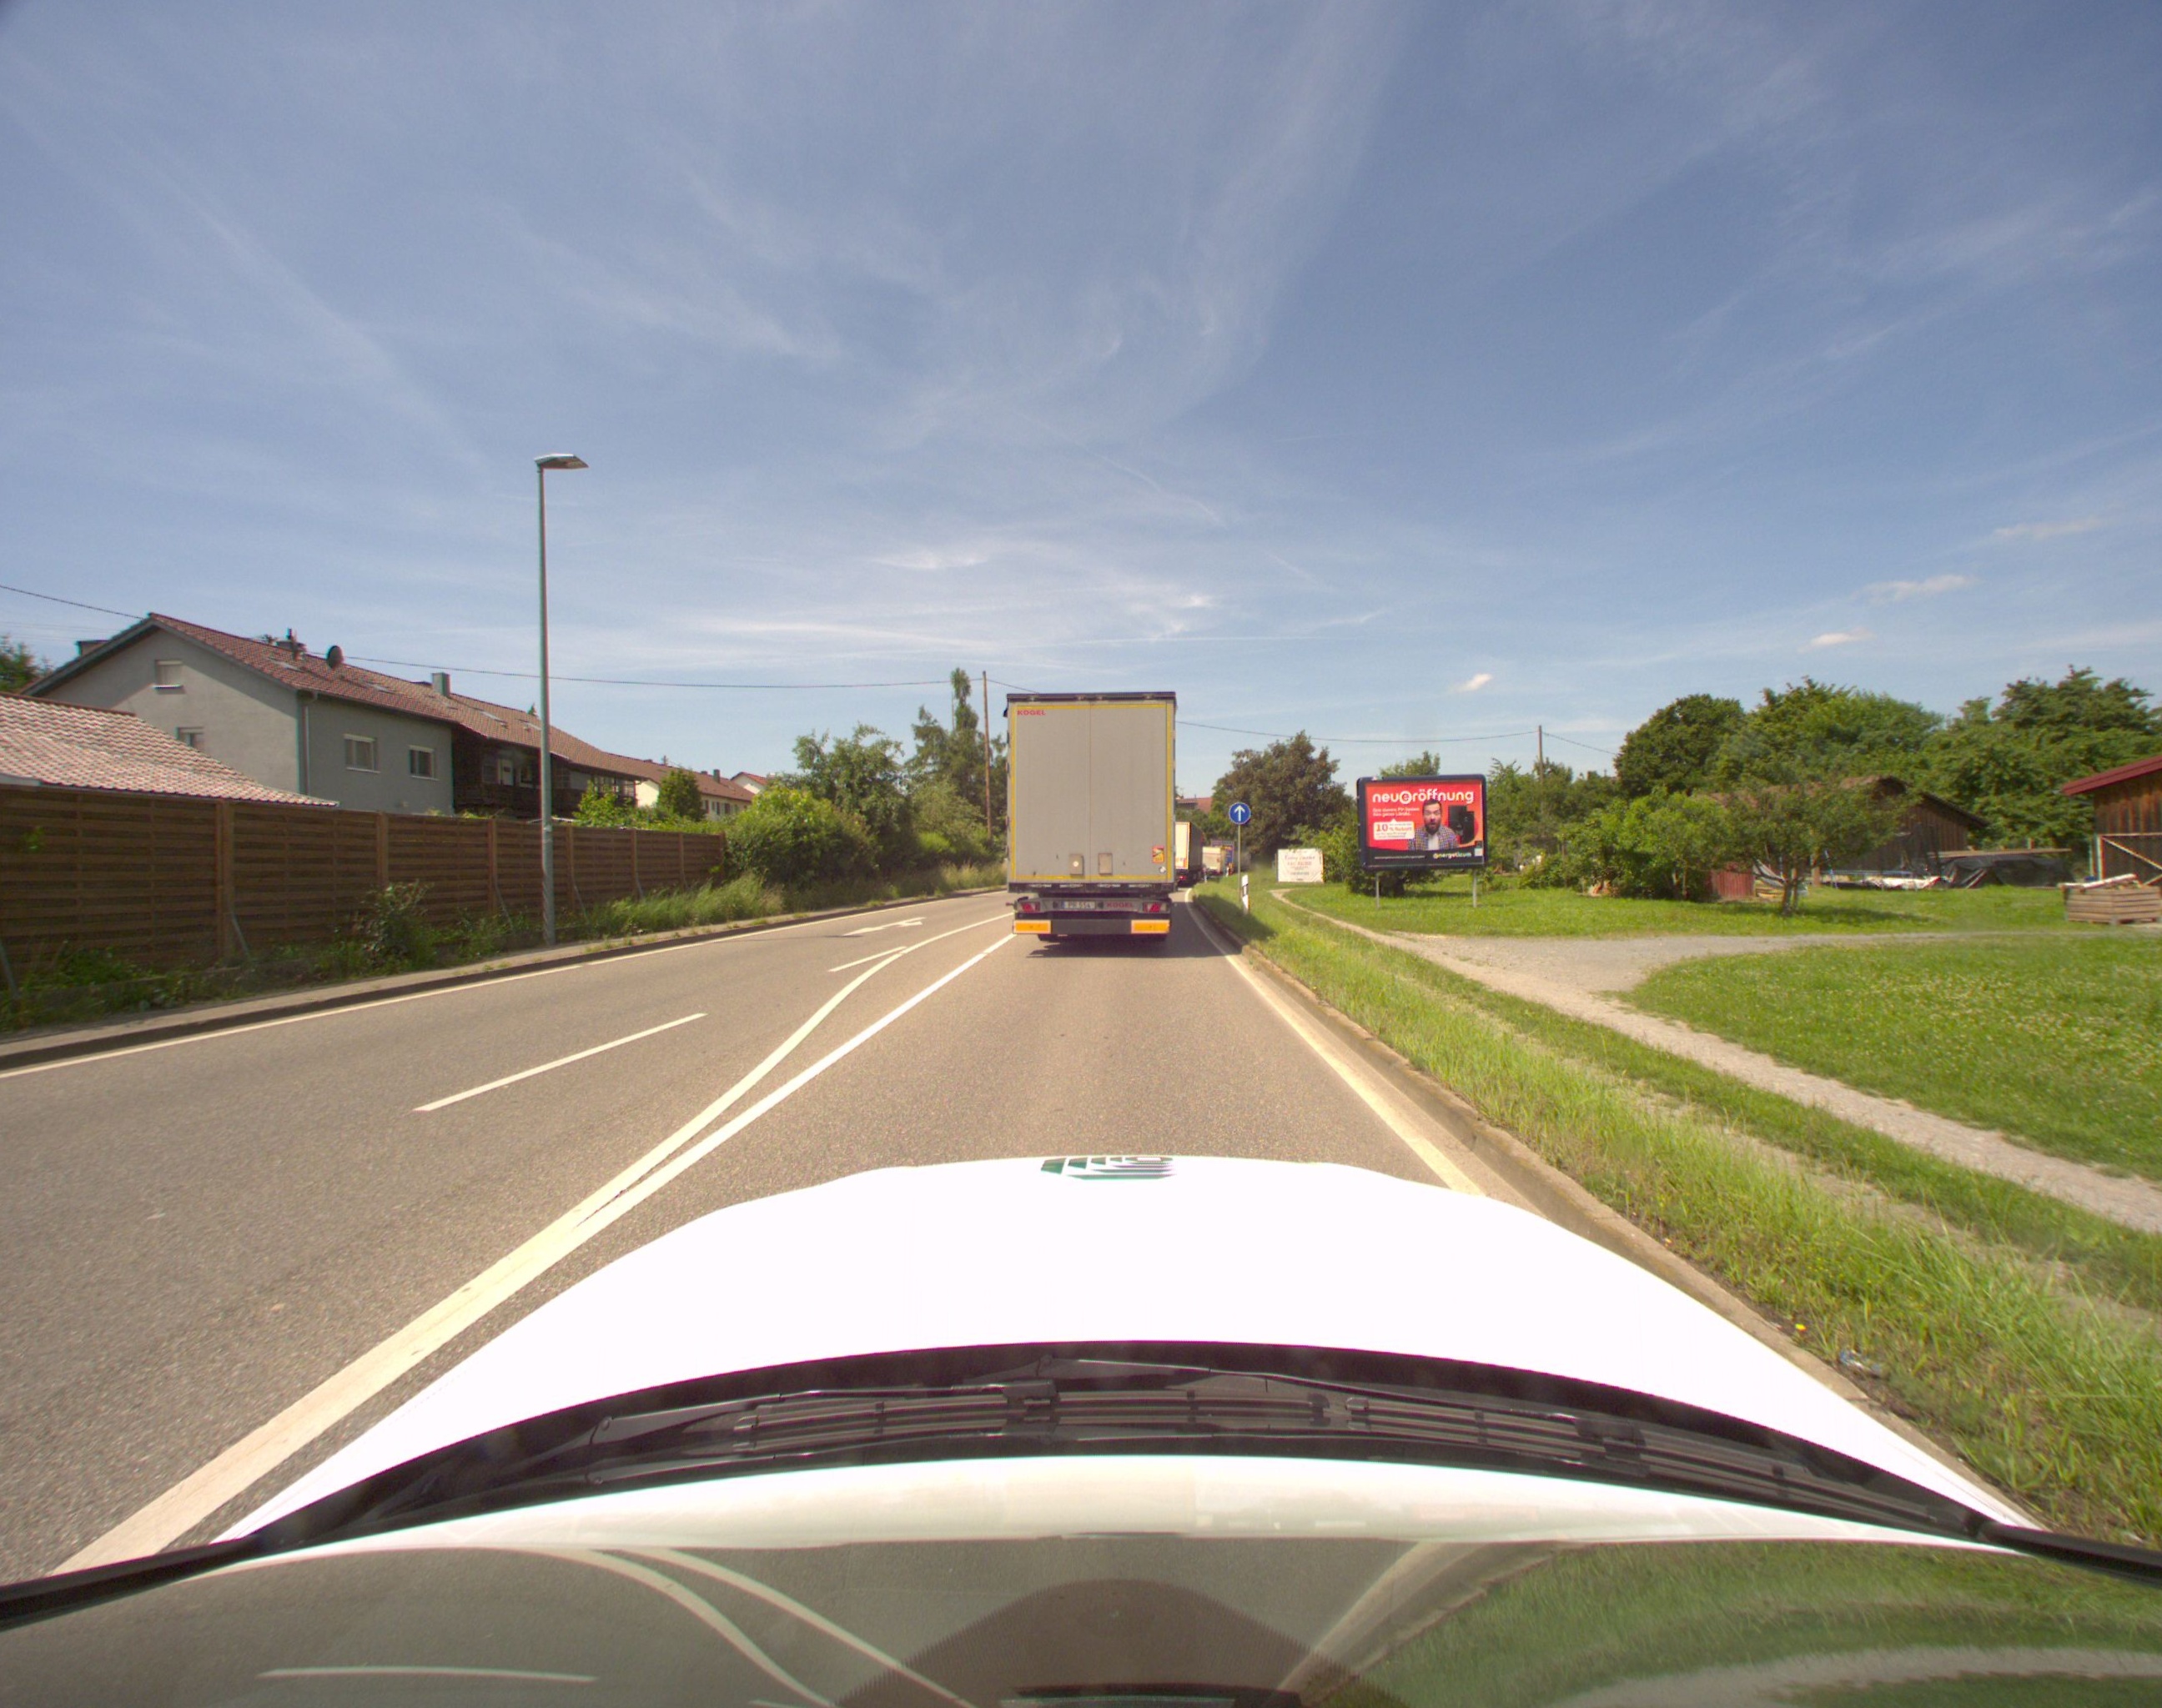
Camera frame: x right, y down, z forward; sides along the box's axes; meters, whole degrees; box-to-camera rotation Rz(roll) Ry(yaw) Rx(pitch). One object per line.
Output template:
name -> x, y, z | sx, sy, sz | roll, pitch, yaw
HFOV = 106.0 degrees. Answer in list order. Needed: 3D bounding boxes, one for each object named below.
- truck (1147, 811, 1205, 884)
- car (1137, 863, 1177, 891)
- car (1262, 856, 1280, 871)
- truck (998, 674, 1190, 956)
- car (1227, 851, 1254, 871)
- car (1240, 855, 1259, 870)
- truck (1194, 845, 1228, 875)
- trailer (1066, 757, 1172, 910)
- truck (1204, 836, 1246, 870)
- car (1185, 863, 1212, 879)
truck -> 6.812, -0.230, 56.039 | 2.743, 4.289, 16.462 | 0, -1, 11
car -> 3.923, 1.153, 41.605 | 1.808, 1.346, 3.857 | 0, -1, 9
car -> 27.764, 1.392, 118.768 | 1.976, 2.014, 4.021 | -1, -1, 22
truck -> 0.650, -0.573, 17.719 | 2.809, 4.127, 11.458 | 0, 0, 5
car -> 19.611, 0.820, 99.867 | 2.512, 2.277, 6.409 | 0, 0, 17
car -> 22.252, 1.115, 107.540 | 1.978, 2.014, 4.018 | 0, -1, 17
truck -> 12.871, 0.606, 80.215 | 2.524, 2.803, 6.057 | 0, -1, 16
trailer -> 1.281, -0.552, 25.394 | 2.812, 4.111, 6.552 | -1, 0, 4
truck -> 15.996, -0.116, 89.982 | 3.406, 3.604, 9.395 | 0, 0, 17
car -> 10.446, 1.482, 72.041 | 1.979, 1.376, 4.014 | 0, -1, 13
